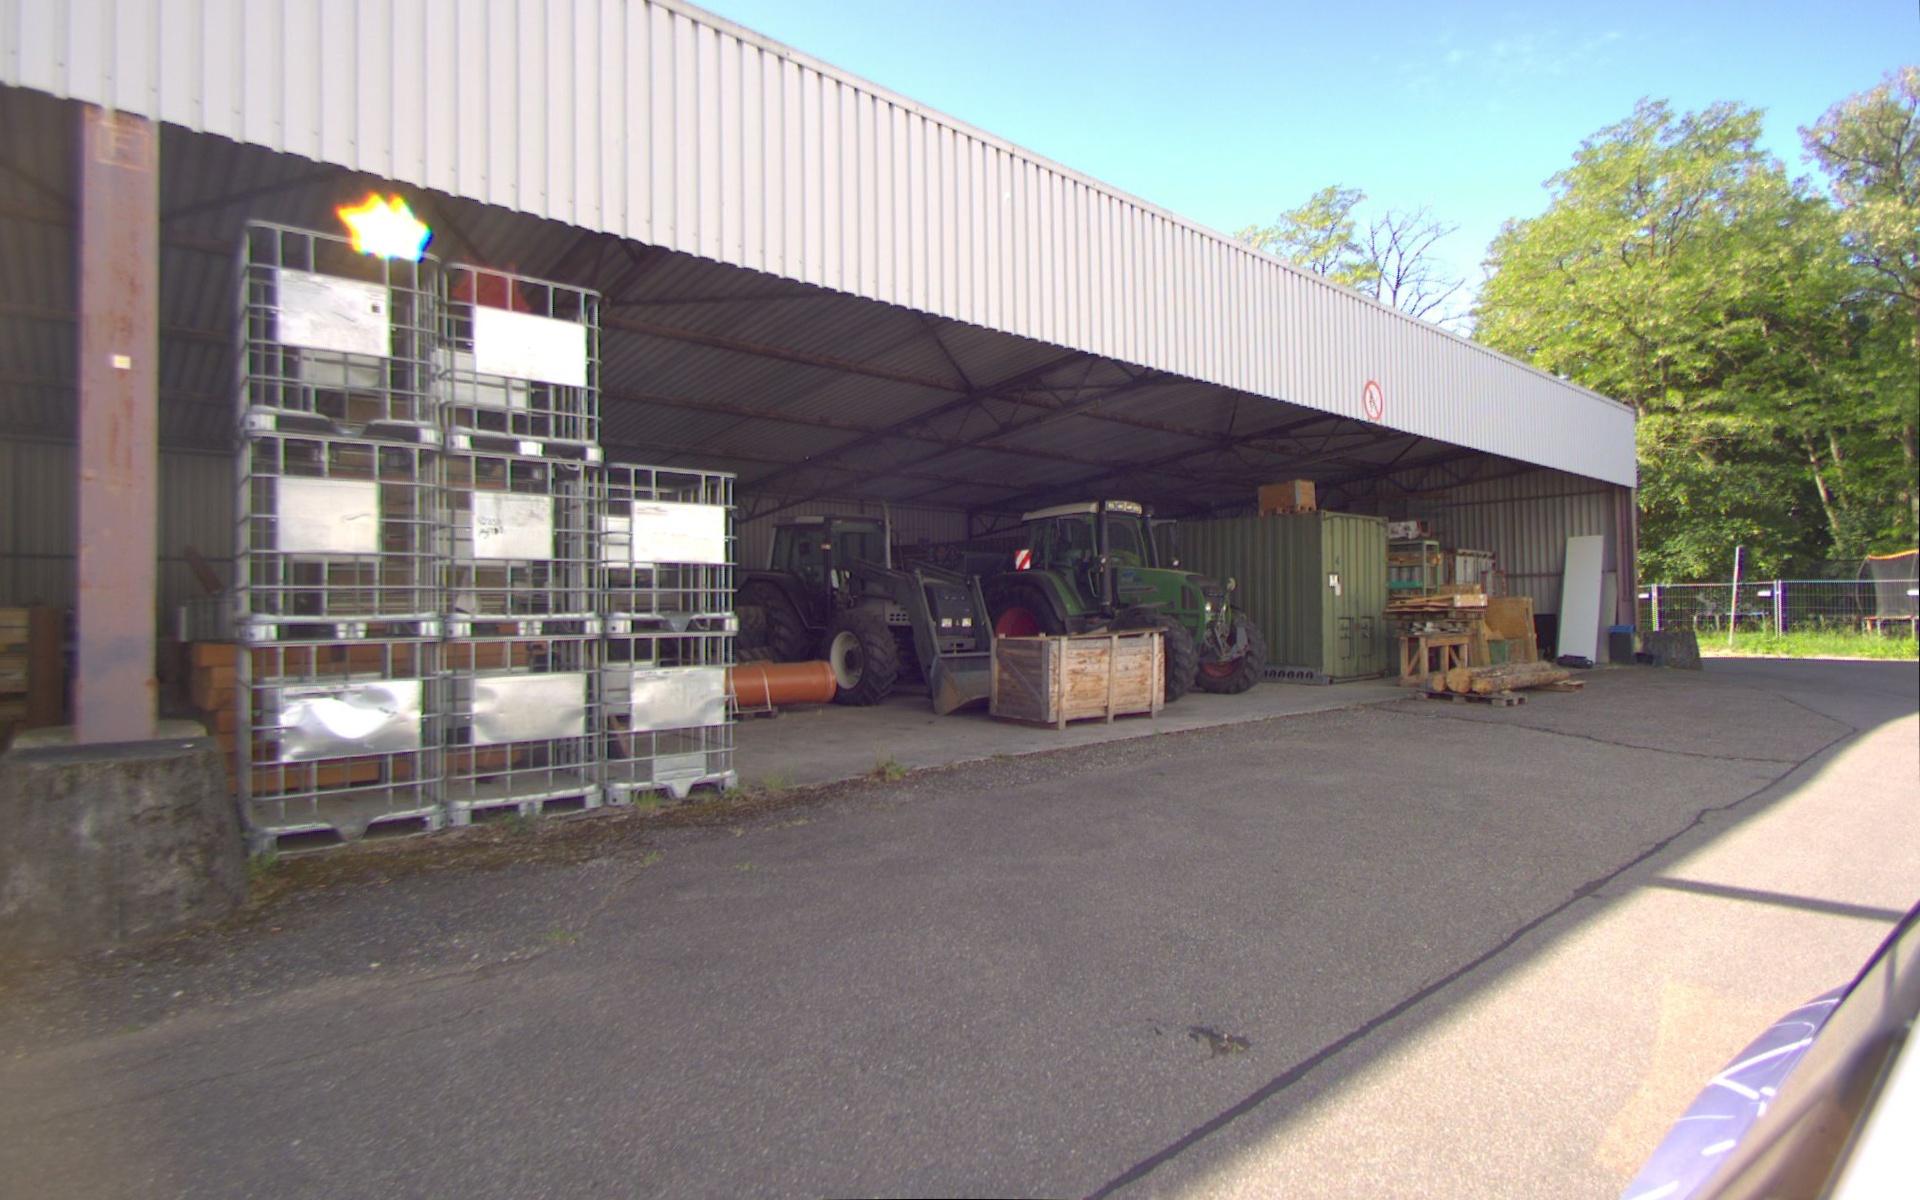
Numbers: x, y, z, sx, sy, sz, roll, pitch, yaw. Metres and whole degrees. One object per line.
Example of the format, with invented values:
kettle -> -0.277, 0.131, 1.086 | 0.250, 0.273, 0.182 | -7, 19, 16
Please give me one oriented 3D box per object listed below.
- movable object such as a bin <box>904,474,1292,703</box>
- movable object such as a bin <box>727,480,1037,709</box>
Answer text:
movable object such as a bin -> 1.961, -0.121, 16.279 | 2.771, 2.962, 5.844 | 0, -1, -40
movable object such as a bin -> -1.316, -0.041, 15.160 | 2.453, 2.867, 4.534 | 0, -1, -40
